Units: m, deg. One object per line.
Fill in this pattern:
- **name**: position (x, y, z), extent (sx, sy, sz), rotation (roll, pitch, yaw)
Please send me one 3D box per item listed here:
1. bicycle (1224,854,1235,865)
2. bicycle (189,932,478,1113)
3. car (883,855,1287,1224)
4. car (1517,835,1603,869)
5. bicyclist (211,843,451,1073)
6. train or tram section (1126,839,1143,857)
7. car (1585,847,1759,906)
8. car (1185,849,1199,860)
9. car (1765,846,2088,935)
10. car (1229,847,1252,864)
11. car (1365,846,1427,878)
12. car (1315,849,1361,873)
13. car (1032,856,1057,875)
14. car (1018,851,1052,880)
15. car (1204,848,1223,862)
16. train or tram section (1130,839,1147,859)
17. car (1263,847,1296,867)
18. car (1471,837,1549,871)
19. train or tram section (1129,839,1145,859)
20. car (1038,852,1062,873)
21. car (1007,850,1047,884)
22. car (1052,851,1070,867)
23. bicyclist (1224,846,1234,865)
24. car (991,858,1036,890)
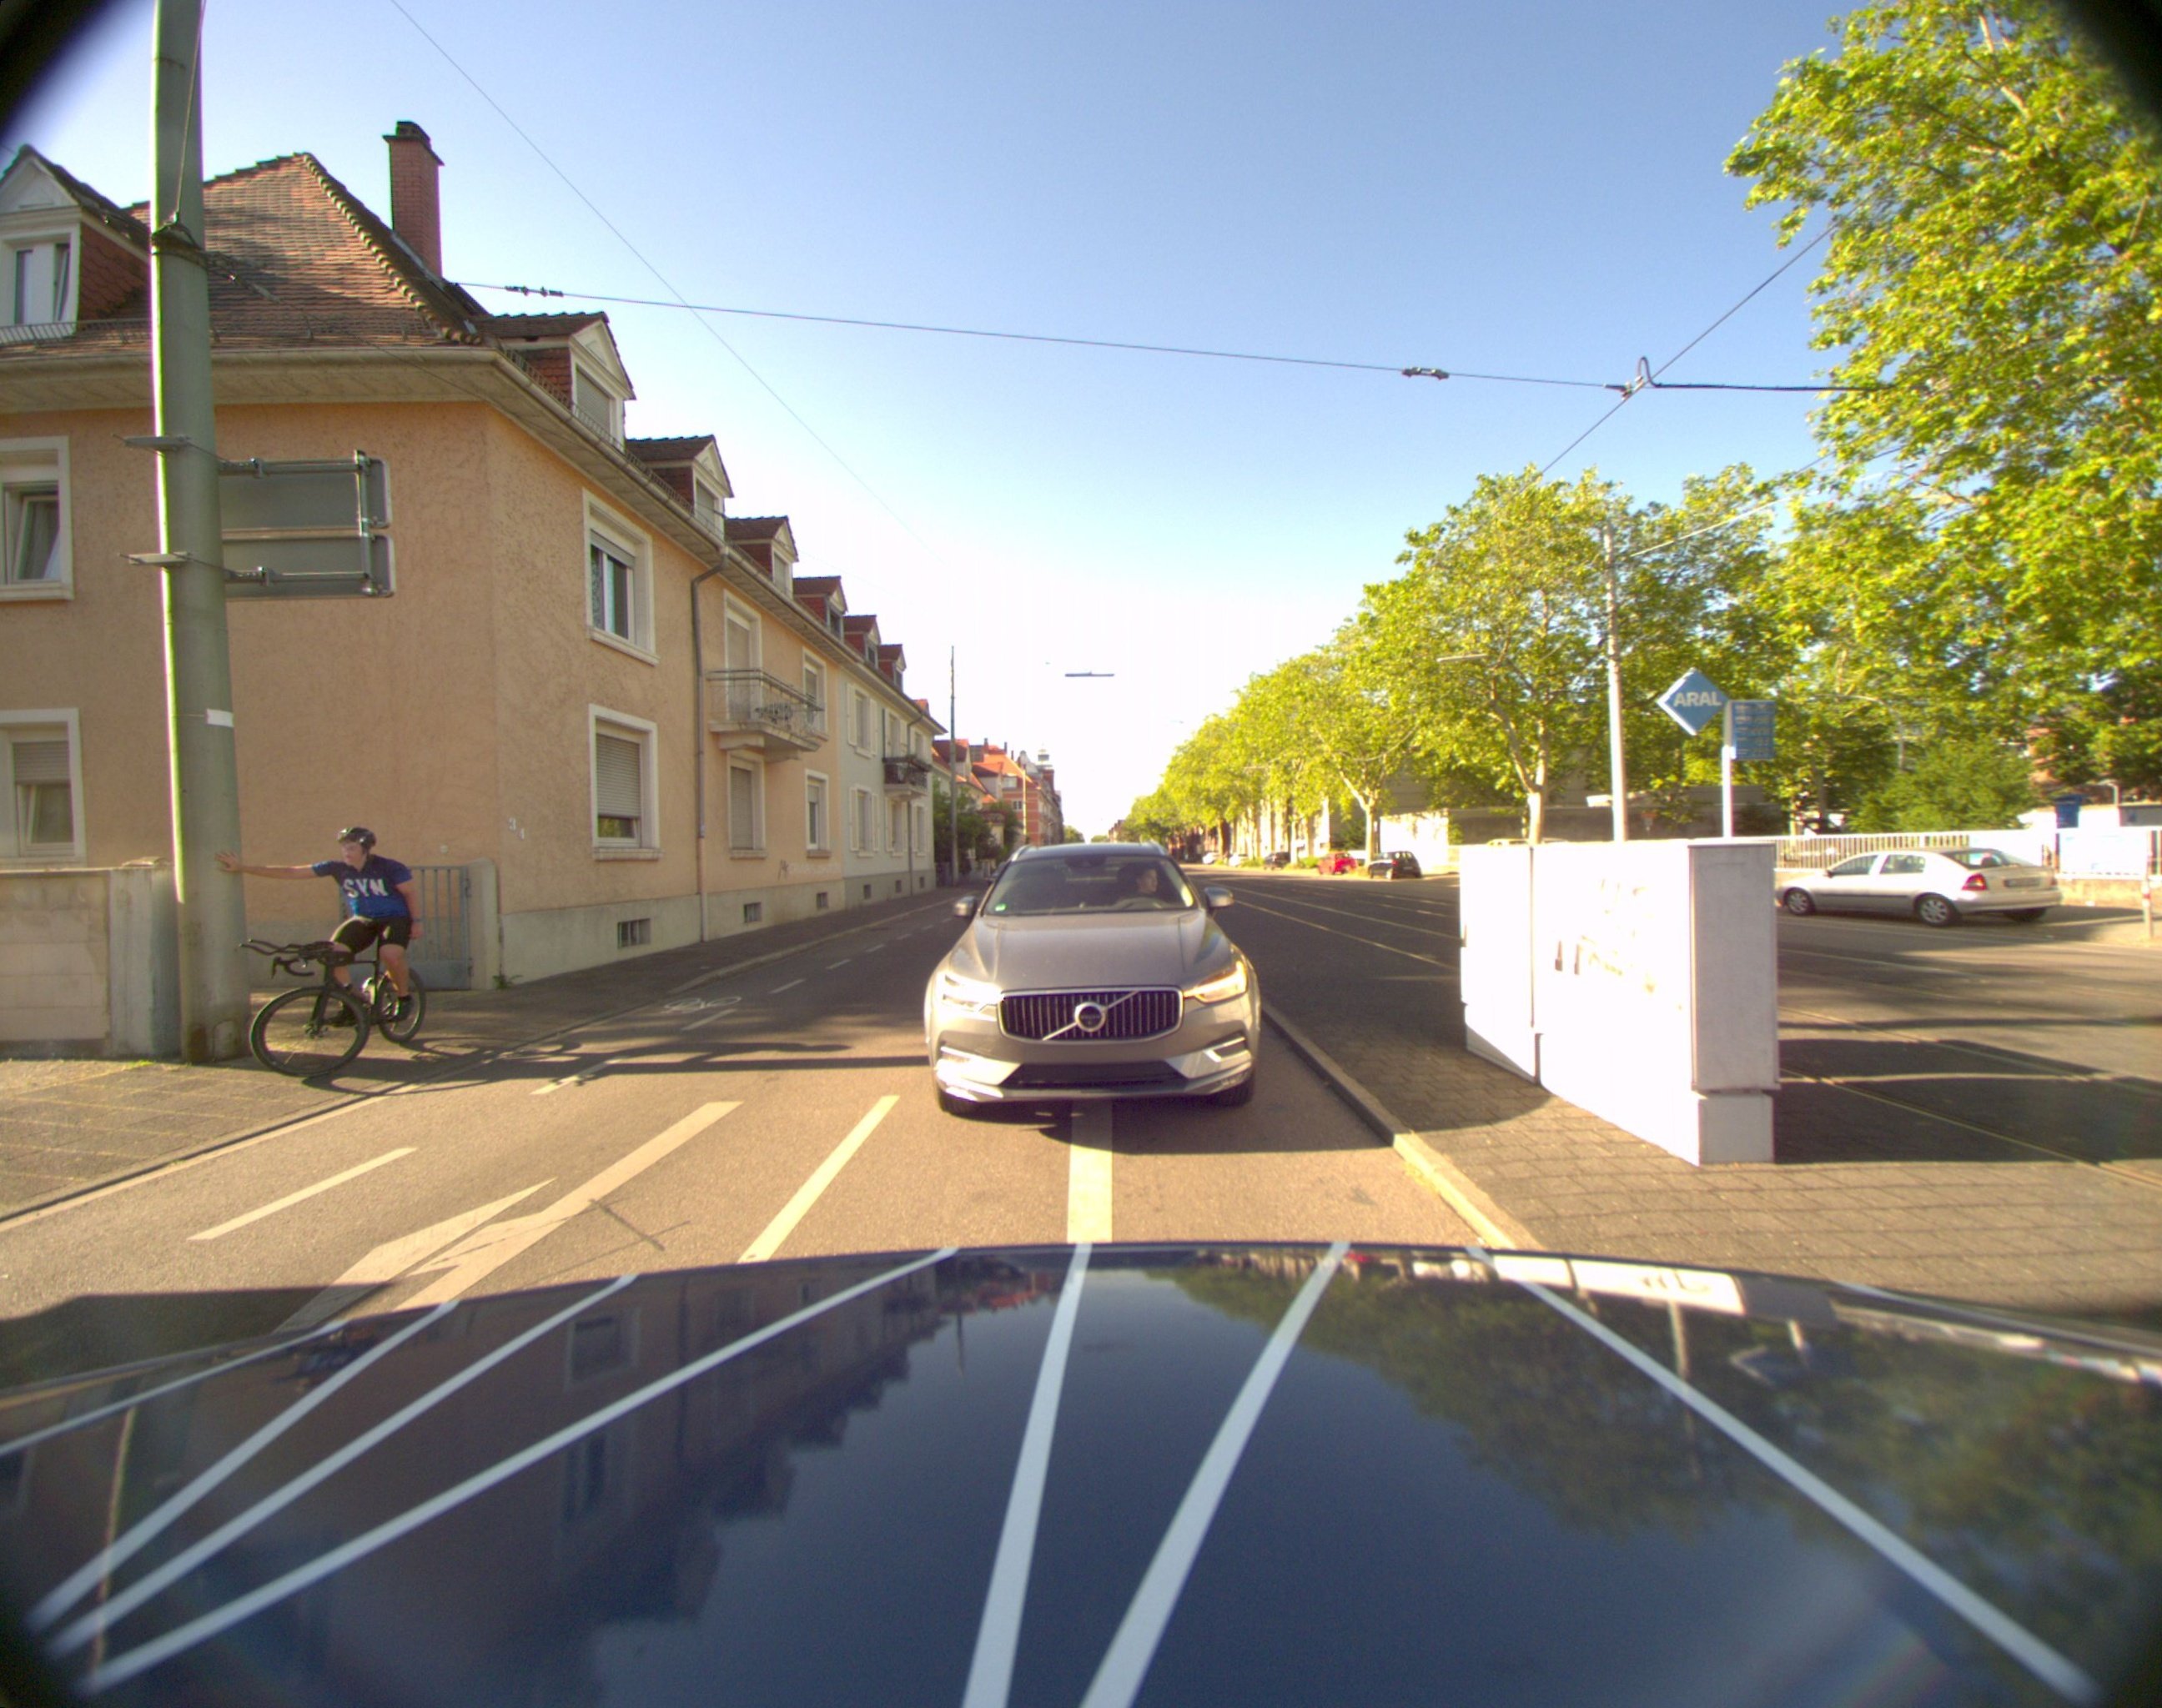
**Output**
- **bicycle**: position (15.216, 0.567, 78.121), extent (0.654, 1.114, 2.533), rotation (-1, 0, 1)
- **bicycle**: position (-5.930, 1.272, 6.188), extent (0.594, 1.045, 1.719), rotation (4, 1, 1)
- **car**: position (-0.001, 0.886, 5.778), extent (1.892, 1.695, 4.318), rotation (-1, 0, -1)
- **car**: position (24.041, -0.111, 38.328), extent (1.845, 1.524, 4.000), rotation (-4, 0, 2)
- **bicyclist**: position (-6.173, 0.807, 6.321), extent (1.071, 1.728, 0.853), rotation (4, 1, 1)
- **train or tram section**: position (10.893, -1.275, 155.346), extent (2.843, 3.456, 10.182), rotation (-2, 1, 1)
- **car**: position (16.515, 0.566, 21.541), extent (1.845, 1.400, 4.138), rotation (-4, 0, 4)
- **car**: position (18.364, -0.010, 125.401), extent (1.845, 1.664, 4.098), rotation (-4, 0, 3)
- **car**: position (16.233, 0.616, 14.968), extent (1.846, 1.400, 3.999), rotation (-4, 0, -1)
- **car**: position (17.486, 0.116, 83.535), extent (1.845, 1.664, 4.098), rotation (-4, 0, 3)
- **car**: position (16.964, 0.407, 41.078), extent (1.845, 1.524, 4.001), rotation (-4, 0, 4)
- **car**: position (16.959, 0.444, 50.302), extent (1.845, 1.400, 4.001), rotation (-4, 0, 3)
- **car**: position (-2.882, 0.856, 60.397), extent (1.808, 1.402, 3.999), rotation (-1, 0, -1)
- **car**: position (-2.782, 0.668, 46.758), extent (1.847, 1.681, 4.000), rotation (-1, 0, 0)
- **car**: position (17.591, 0.074, 100.898), extent (1.845, 1.664, 4.098), rotation (-4, 0, 3)
- **train or tram section**: position (10.152, -0.878, 135.101), extent (2.861, 3.456, 10.184), rotation (-1, 0, 3)
- **car**: position (17.165, 0.223, 65.887), extent (1.845, 1.607, 4.098), rotation (-4, 0, 3)
- **car**: position (21.747, -0.028, 38.706), extent (1.845, 1.524, 4.001), rotation (-4, 0, 4)
- **train or tram section**: position (10.678, -0.978, 145.256), extent (2.842, 3.456, 10.184), rotation (-2, 1, 3)
- **car**: position (-2.678, 0.691, 65.760), extent (1.847, 1.681, 4.000), rotation (-1, 0, 0)
- **car**: position (-2.949, 0.682, 42.292), extent (1.847, 1.742, 4.144), rotation (-1, 0, 0)
- **car**: position (-2.247, 0.546, 85.474), extent (1.999, 1.641, 4.658), rotation (-1, 0, -1)
- **bicyclist**: position (15.198, 0.149, 78.105), extent (0.720, 1.853, 1.071), rotation (-1, 1, 0)
- **car**: position (-3.232, 0.942, 36.967), extent (1.847, 1.412, 3.999), rotation (-1, 0, -1)
